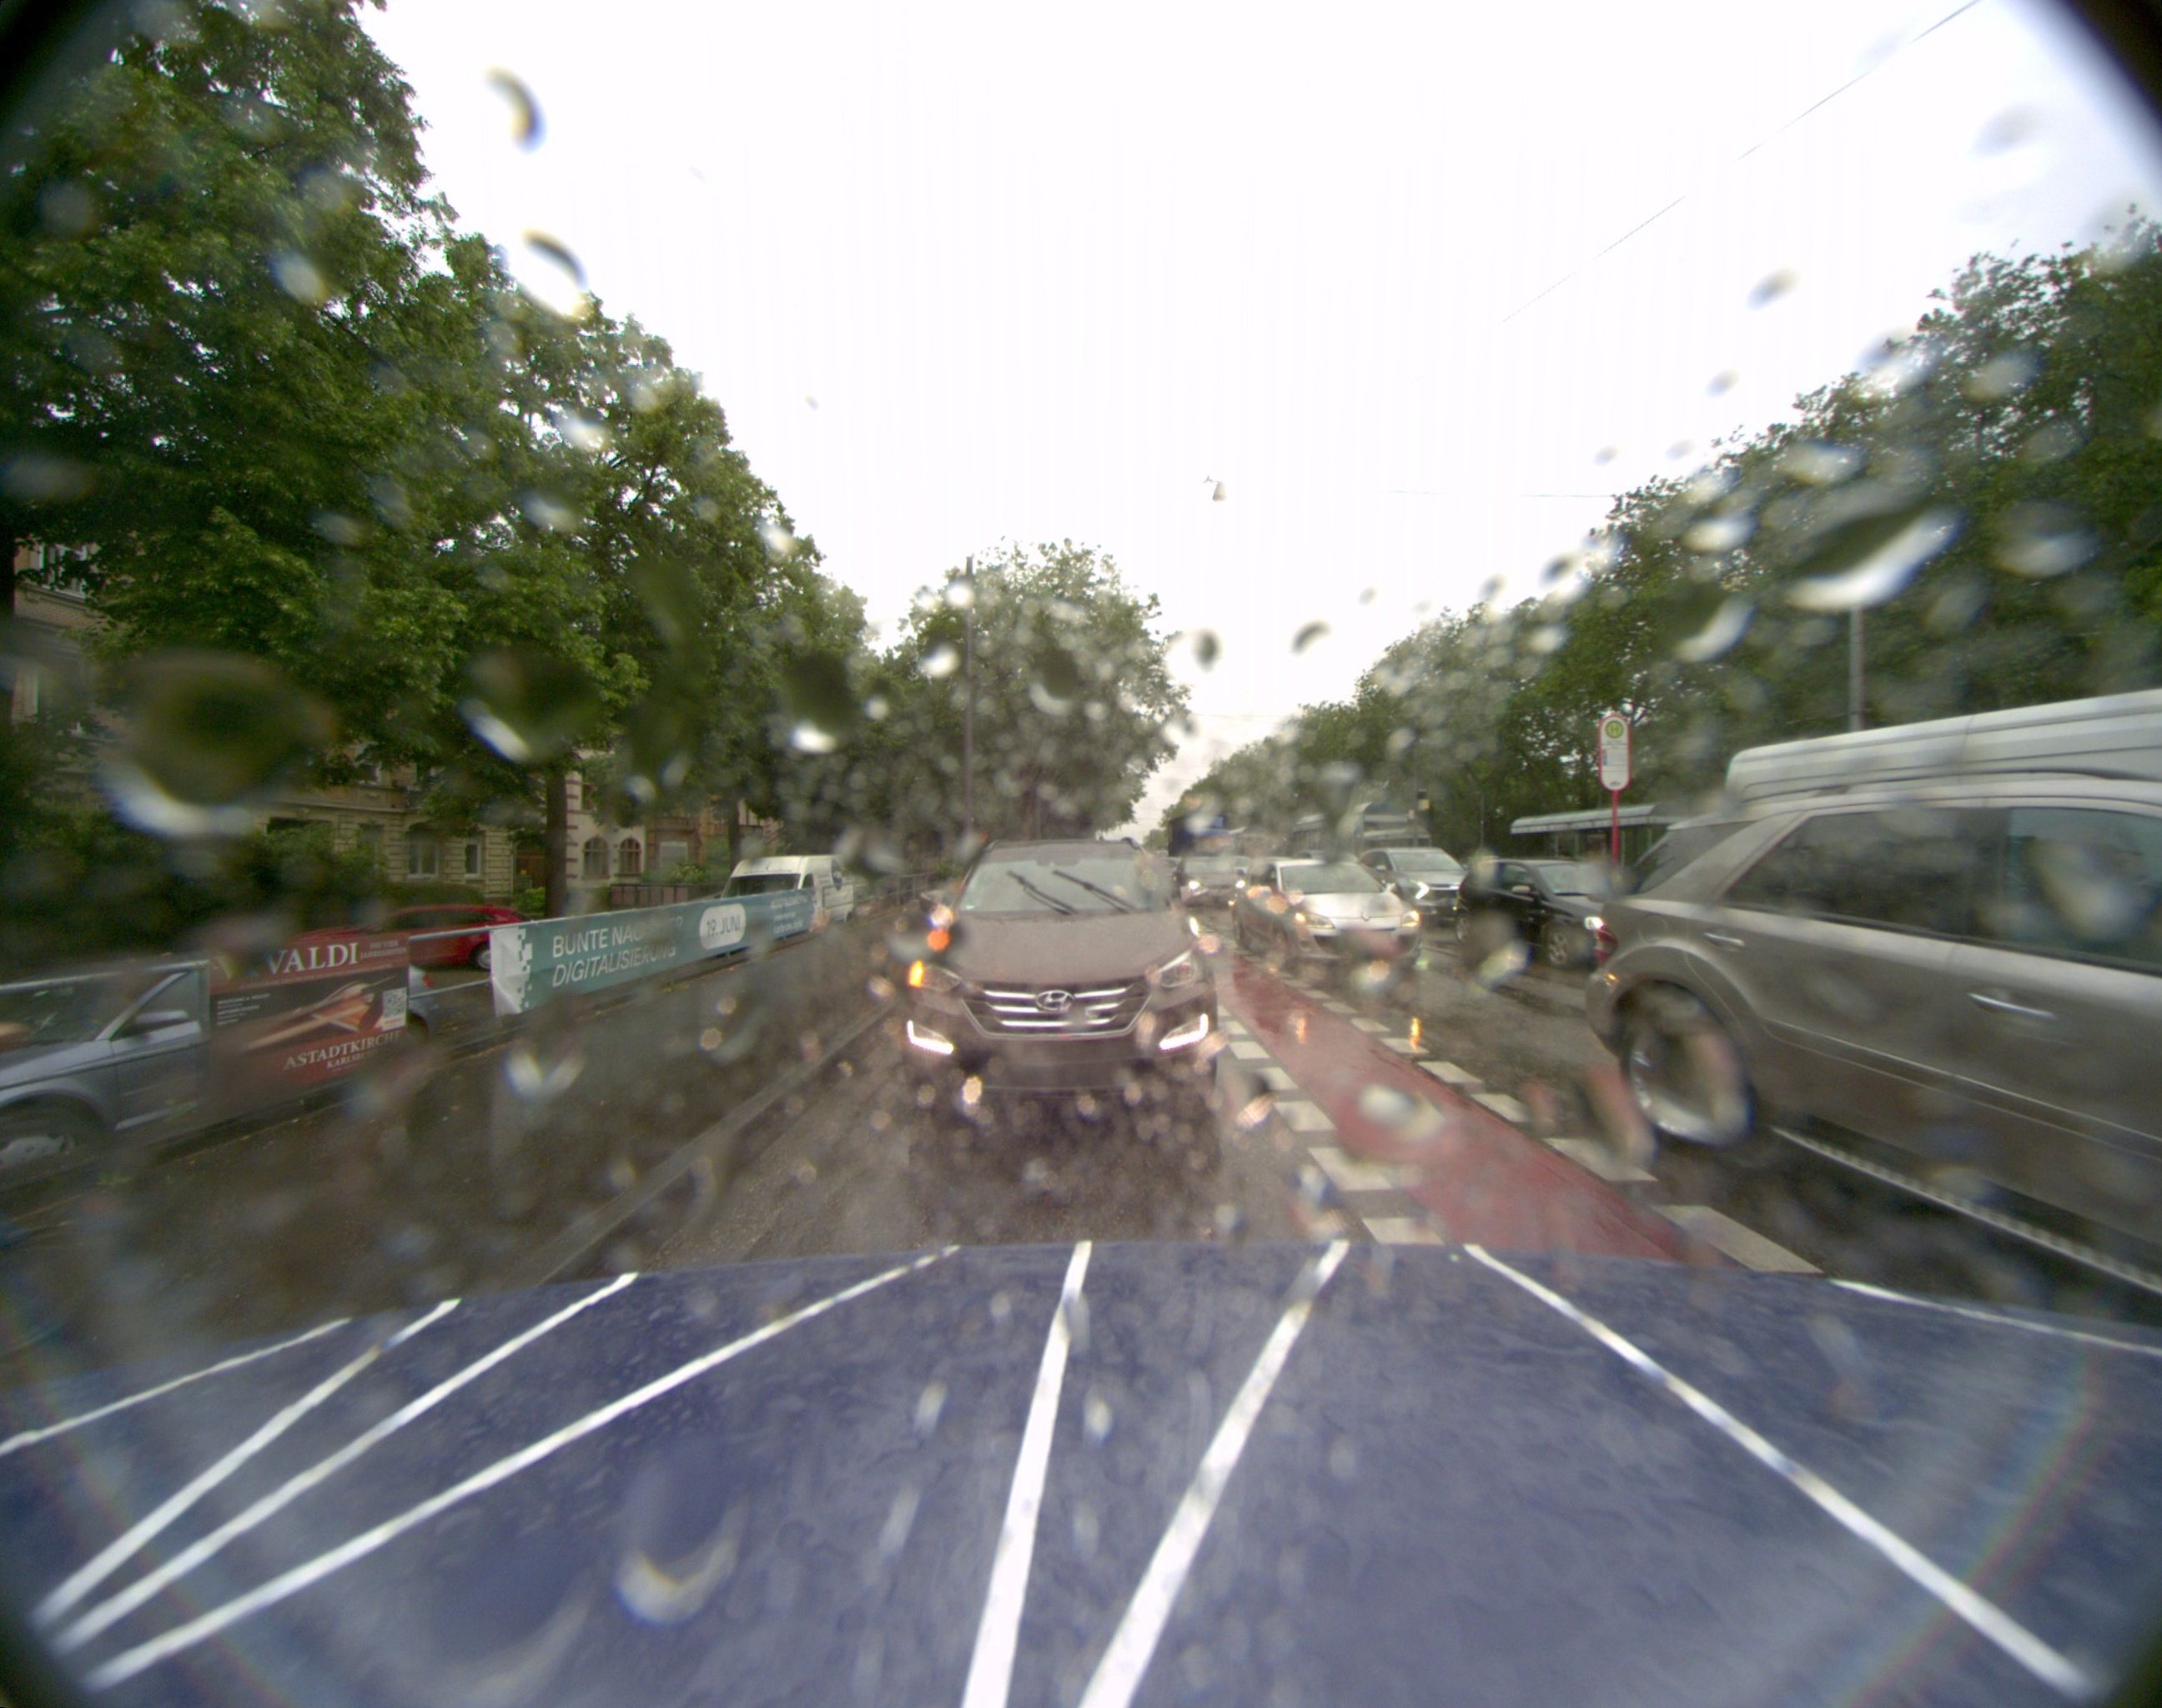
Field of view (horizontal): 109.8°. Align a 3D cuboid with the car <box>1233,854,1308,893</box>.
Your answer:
[{"bbox_3d":[7.452,0.760,30.294,1.913,1.399,4.191,-1,-1,0],"label":"car"}]

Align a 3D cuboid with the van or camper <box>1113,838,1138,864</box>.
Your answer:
[{"bbox_3d":[4.504,-0.297,77.565,2.144,2.484,5.713,-1,-1,-1],"label":"van or camper"}]

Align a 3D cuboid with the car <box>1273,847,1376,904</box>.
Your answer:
[{"bbox_3d":[7.703,0.666,24.485,1.913,1.637,4.191,-1,-1,0],"label":"car"}]

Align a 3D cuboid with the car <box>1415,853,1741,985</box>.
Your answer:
[{"bbox_3d":[6.828,0.791,11.178,1.786,1.504,4.557,-1,-1,0],"label":"car"}]

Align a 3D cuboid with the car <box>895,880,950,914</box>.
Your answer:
[{"bbox_3d":[-7.538,2.024,36.444,1.704,1.363,4.000,-2,0,1],"label":"car"}]

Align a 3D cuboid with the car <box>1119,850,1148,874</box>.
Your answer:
[{"bbox_3d":[4.156,0.610,60.711,1.998,1.737,3.999,-2,1,1],"label":"car"}]

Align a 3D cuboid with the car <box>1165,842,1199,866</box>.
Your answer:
[{"bbox_3d":[7.653,-0.033,57.953,1.998,1.706,3.999,-2,1,1],"label":"car"}]

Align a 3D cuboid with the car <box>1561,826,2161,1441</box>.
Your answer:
[{"bbox_3d":[3.813,0.724,2.130,1.913,1.637,4.680,-1,-1,0],"label":"car"}]

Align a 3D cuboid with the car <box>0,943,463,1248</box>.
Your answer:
[{"bbox_3d":[-7.212,1.626,5.633,1.731,1.461,4.217,-1,-1,1],"label":"car"}]

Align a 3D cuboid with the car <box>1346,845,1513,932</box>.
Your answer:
[{"bbox_3d":[7.414,0.697,16.694,1.847,1.625,4.249,-1,-1,3],"label":"car"}]

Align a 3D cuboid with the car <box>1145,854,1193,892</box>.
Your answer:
[{"bbox_3d":[4.050,0.854,35.641,1.912,1.637,4.192,-1,-1,3],"label":"car"}]

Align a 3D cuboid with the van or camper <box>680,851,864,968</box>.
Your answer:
[{"bbox_3d":[-7.803,1.284,20.094,2.332,2.575,6.098,-1,-1,0],"label":"van or camper"}]

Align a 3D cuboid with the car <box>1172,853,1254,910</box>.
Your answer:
[{"bbox_3d":[3.927,0.804,23.349,1.912,1.540,4.668,-1,-1,3],"label":"car"}]

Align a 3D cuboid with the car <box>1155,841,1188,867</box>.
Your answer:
[{"bbox_3d":[7.726,-0.035,65.547,2.344,2.137,5.454,-2,1,2],"label":"car"}]

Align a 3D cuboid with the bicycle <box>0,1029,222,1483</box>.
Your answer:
[{"bbox_3d":[-3.165,1.102,1.566,0.740,1.066,1.866,0,-1,-4],"label":"bicycle"}]

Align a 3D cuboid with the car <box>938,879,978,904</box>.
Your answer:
[{"bbox_3d":[-7.808,2.343,48.566,1.808,1.446,4.001,-1,-1,1],"label":"car"}]

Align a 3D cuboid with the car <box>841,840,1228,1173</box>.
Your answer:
[{"bbox_3d":[-0.132,0.806,6.148,1.912,1.637,4.682,-1,-1,3],"label":"car"}]

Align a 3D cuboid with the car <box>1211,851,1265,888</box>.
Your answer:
[{"bbox_3d":[7.444,0.744,36.349,1.912,1.637,4.192,-1,-1,3],"label":"car"}]

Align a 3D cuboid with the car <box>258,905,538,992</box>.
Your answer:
[{"bbox_3d":[-14.595,1.957,16.607,4.294,1.461,1.705,-1,-1,-31],"label":"car"}]

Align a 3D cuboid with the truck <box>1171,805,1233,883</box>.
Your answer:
[{"bbox_3d":[7.125,-0.488,45.797,2.417,4.251,8.354,-1,-1,1],"label":"truck"}]

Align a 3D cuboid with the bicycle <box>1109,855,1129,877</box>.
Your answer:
[{"bbox_3d":[1.940,0.609,38.991,0.819,1.082,1.997,-2,1,-1],"label":"bicycle"}]

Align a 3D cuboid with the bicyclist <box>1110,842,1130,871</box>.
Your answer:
[{"bbox_3d":[1.987,0.125,38.905,0.927,1.461,0.805,-2,1,-2],"label":"bicyclist"}]

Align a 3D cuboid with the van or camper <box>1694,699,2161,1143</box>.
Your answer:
[{"bbox_3d":[7.062,0.360,4.377,2.181,2.456,5.971,-1,-1,0],"label":"van or camper"}]

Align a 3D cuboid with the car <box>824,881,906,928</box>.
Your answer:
[{"bbox_3d":[-7.652,1.738,27.262,1.630,1.341,4.216,-1,0,1],"label":"car"}]

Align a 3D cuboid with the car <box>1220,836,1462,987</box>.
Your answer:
[{"bbox_3d":[3.477,0.712,11.134,1.975,1.731,4.267,-1,-1,-1],"label":"car"}]
